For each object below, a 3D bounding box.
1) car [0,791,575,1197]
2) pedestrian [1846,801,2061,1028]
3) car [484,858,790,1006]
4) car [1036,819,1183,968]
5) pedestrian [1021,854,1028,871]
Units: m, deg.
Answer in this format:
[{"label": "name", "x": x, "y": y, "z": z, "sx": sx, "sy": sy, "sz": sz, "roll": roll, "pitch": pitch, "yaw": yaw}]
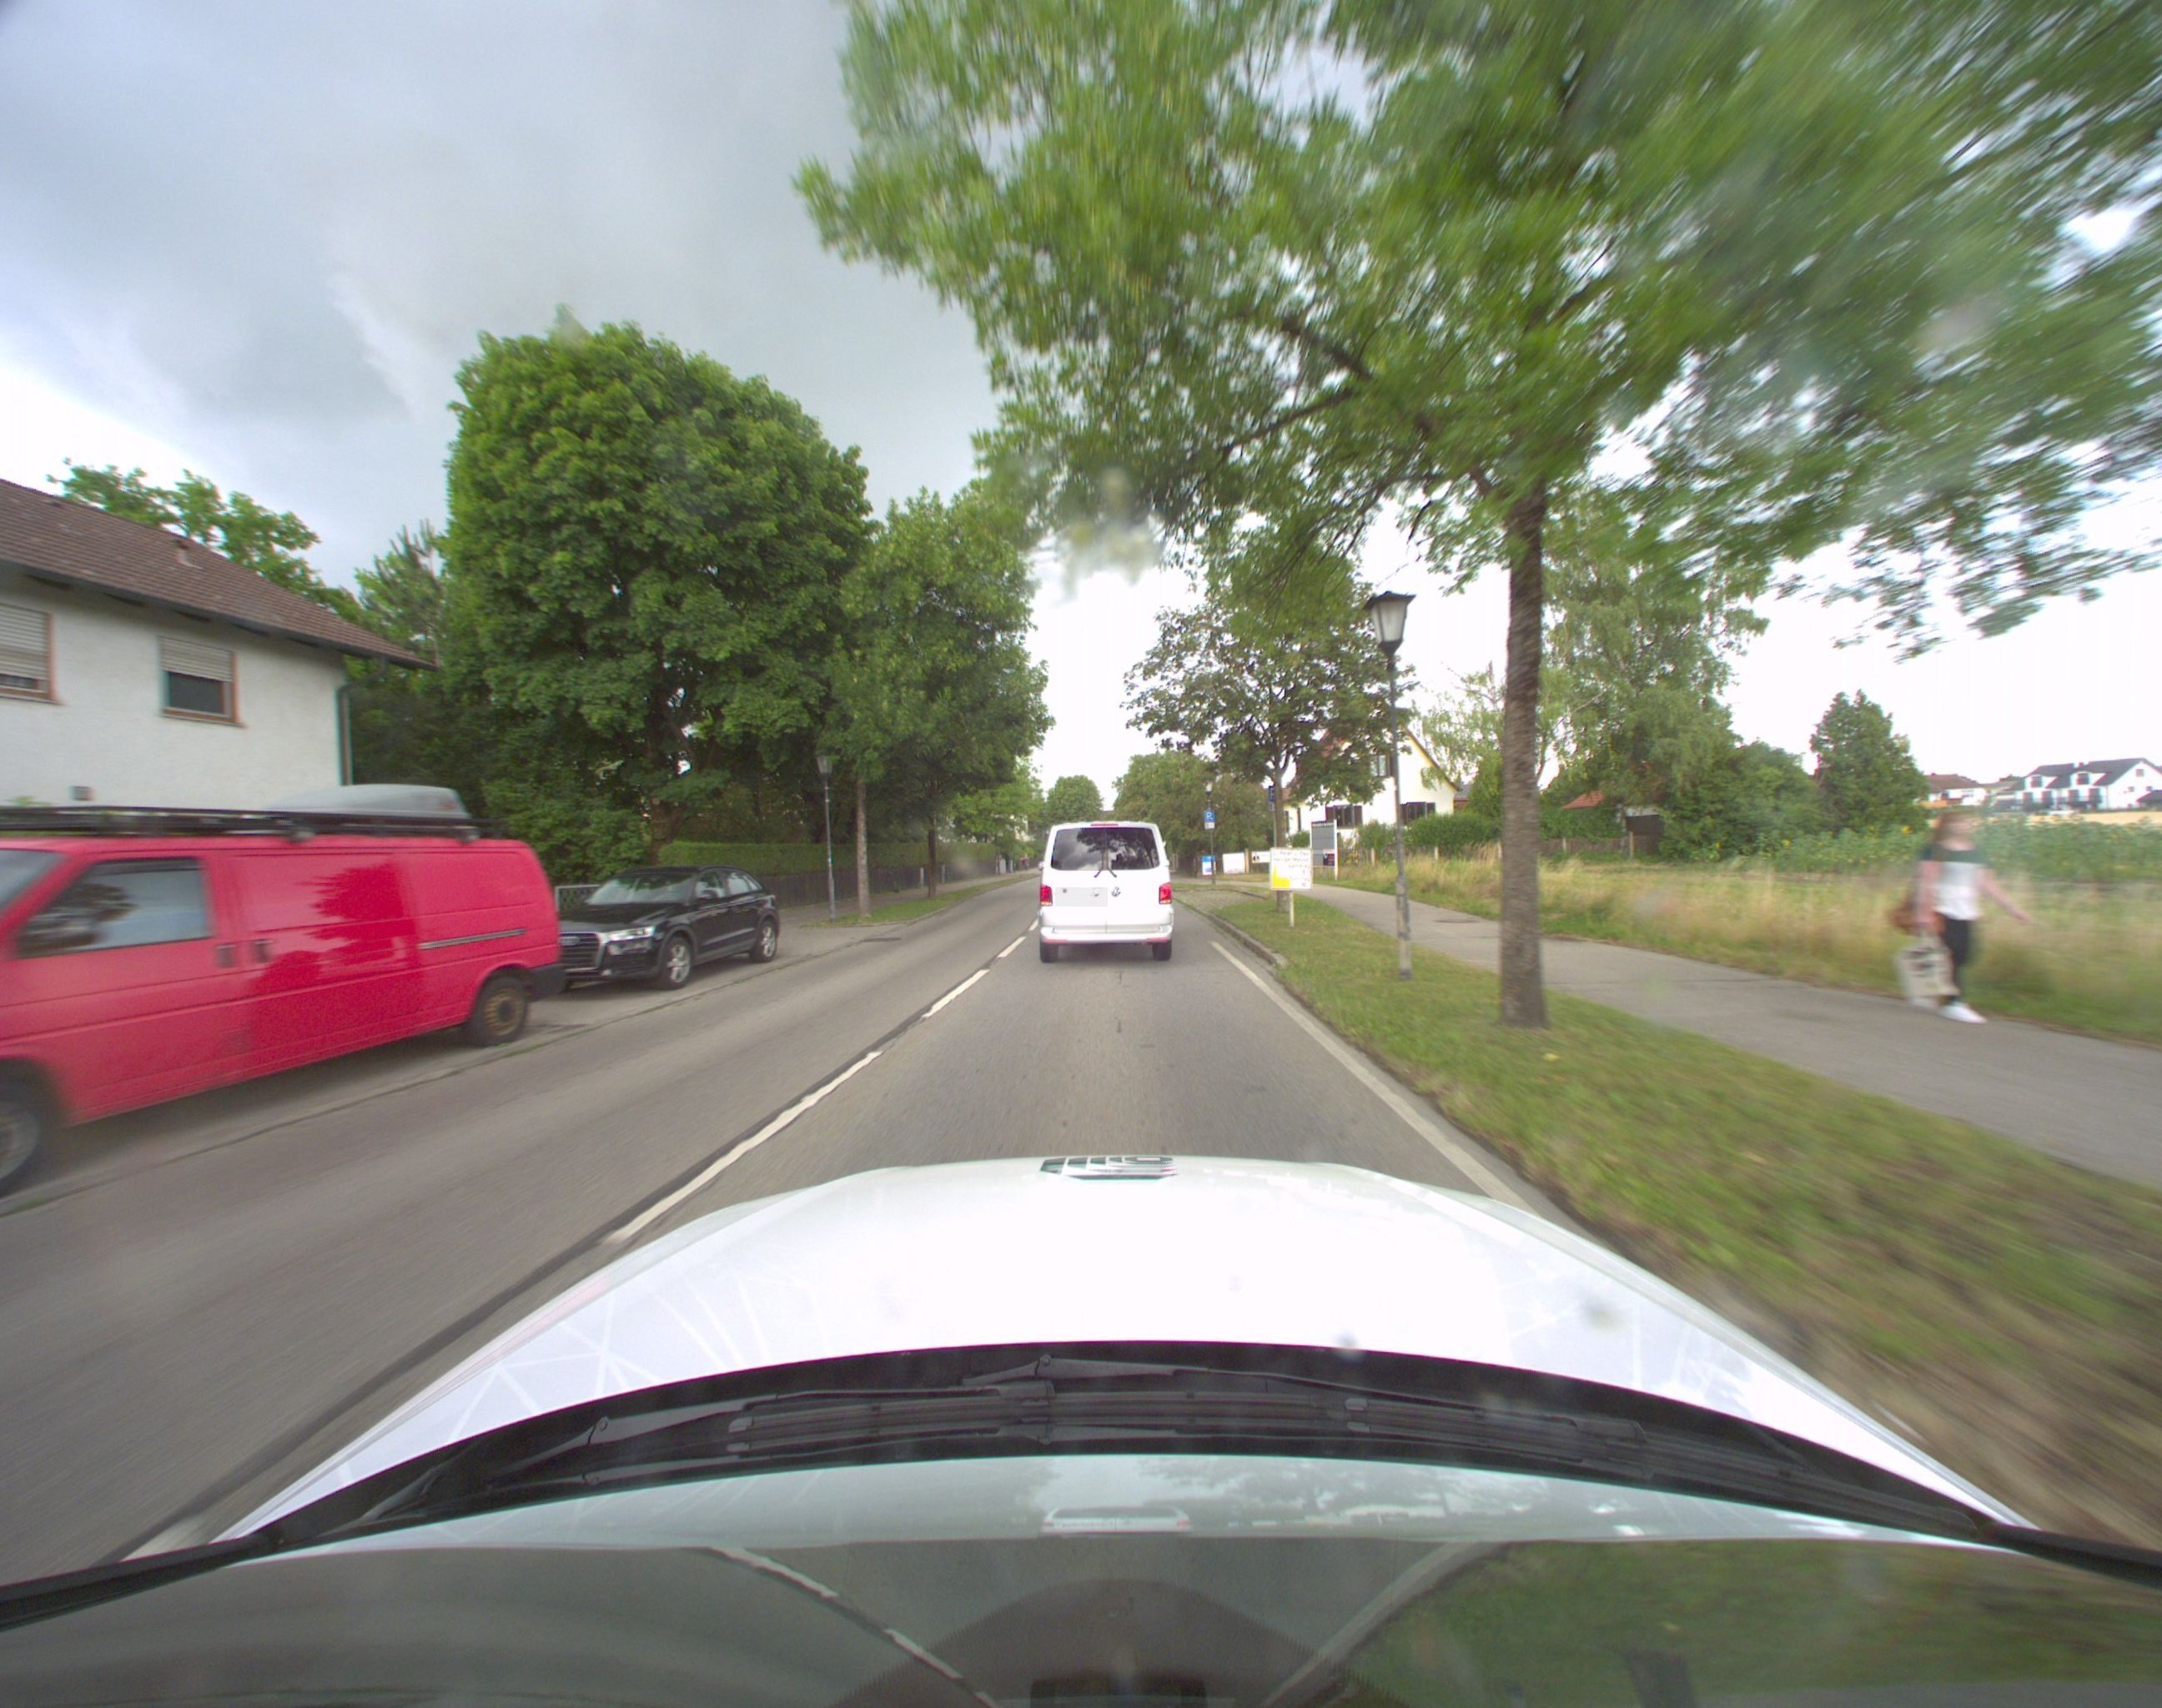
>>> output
[{"label": "car", "x": -6.202, "y": 0.690, "z": 5.754, "sx": 1.822, "sy": 2.030, "sz": 5.051, "roll": 0, "pitch": 0, "yaw": 4}, {"label": "pedestrian", "x": 7.200, "y": 0.472, "z": 6.778, "sx": 0.833, "sy": 1.755, "sz": 0.871, "roll": -1, "pitch": 0, "yaw": 8}, {"label": "car", "x": -5.879, "y": 0.916, "z": 11.503, "sx": 1.764, "sy": 1.598, "sz": 4.242, "roll": -1, "pitch": 1, "yaw": 3}, {"label": "car", "x": 0.468, "y": 0.519, "z": 12.663, "sx": 1.880, "sy": 1.912, "sz": 4.003, "roll": -1, "pitch": 0, "yaw": 2}, {"label": "pedestrian", "x": -4.972, "y": 0.750, "z": 71.686, "sx": 0.620, "sy": 1.549, "sz": 0.522, "roll": 0, "pitch": 0, "yaw": -1}]
